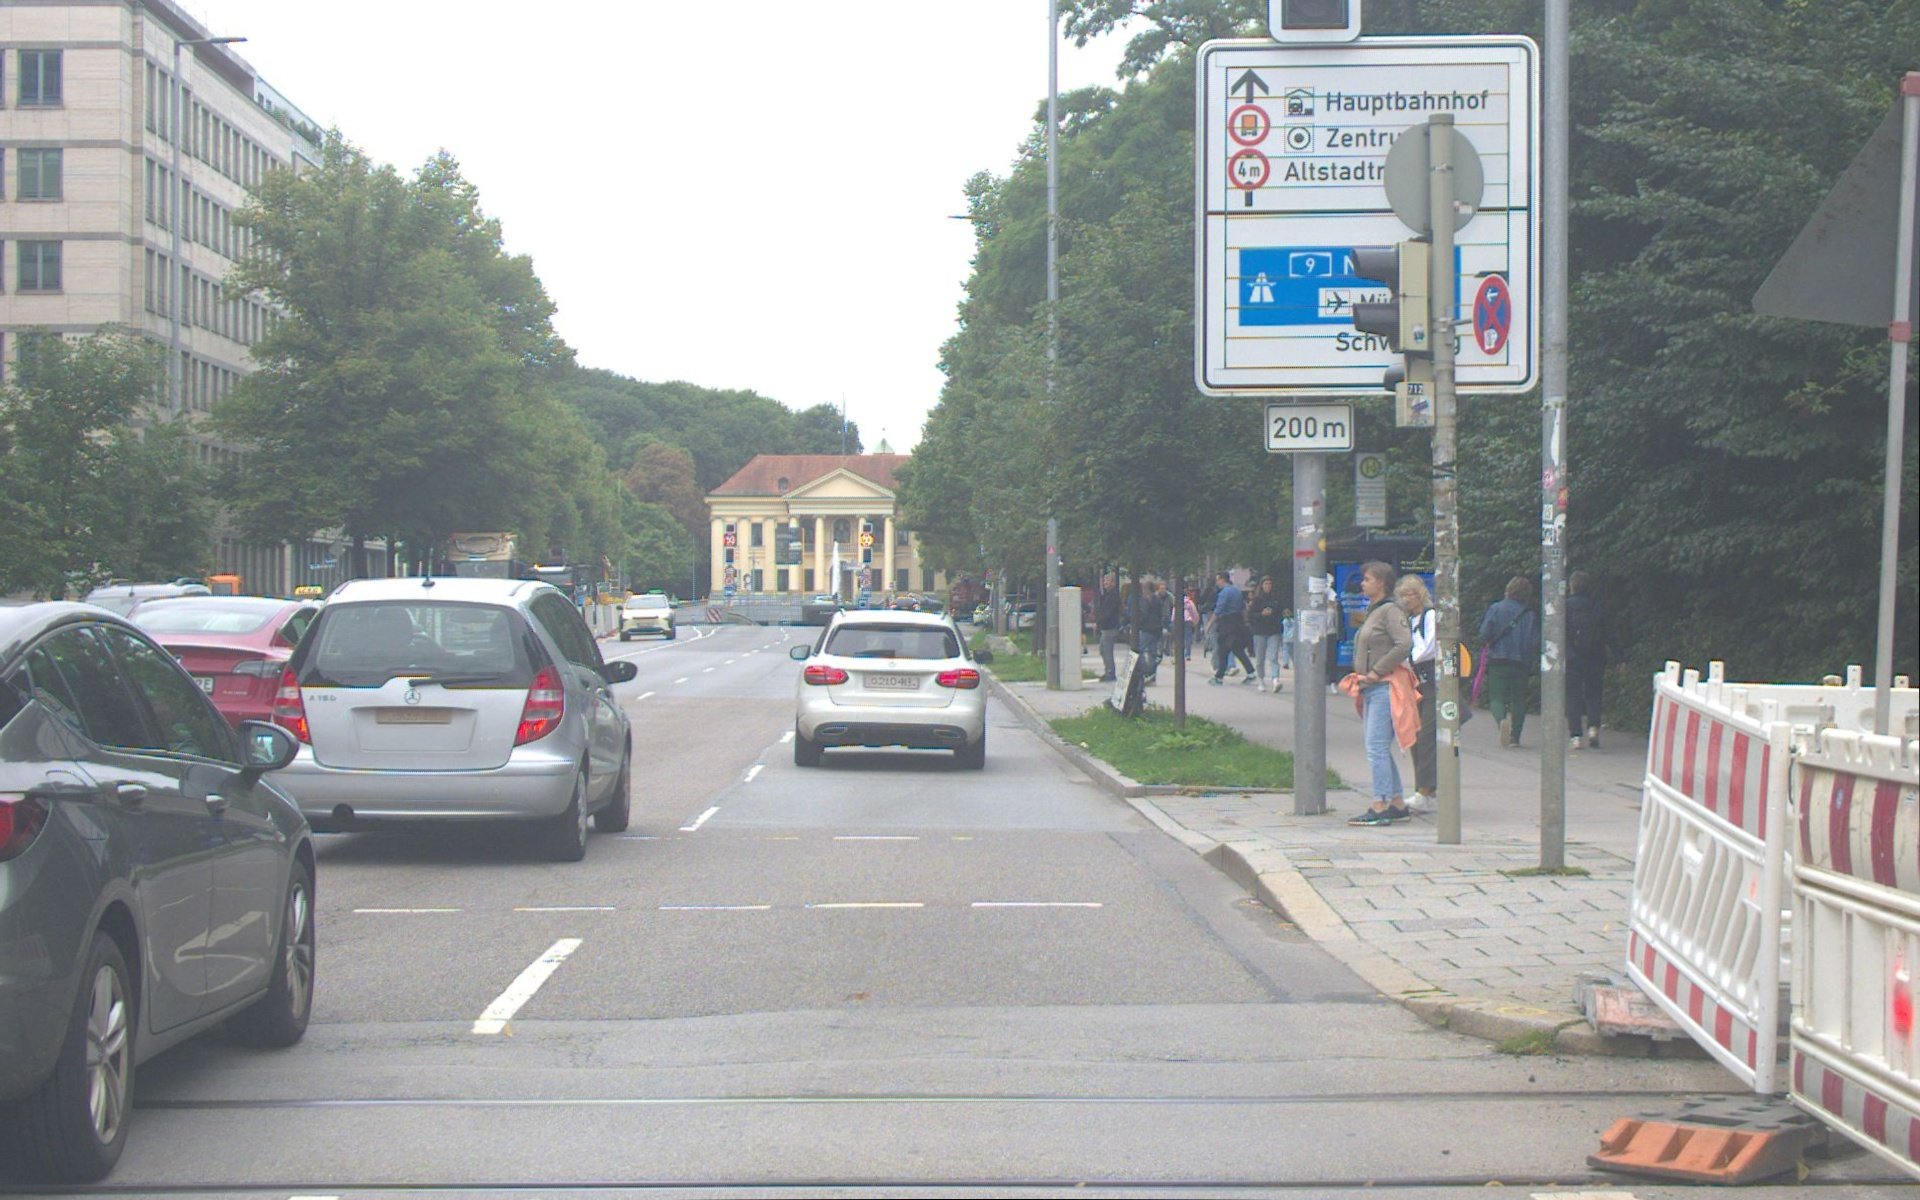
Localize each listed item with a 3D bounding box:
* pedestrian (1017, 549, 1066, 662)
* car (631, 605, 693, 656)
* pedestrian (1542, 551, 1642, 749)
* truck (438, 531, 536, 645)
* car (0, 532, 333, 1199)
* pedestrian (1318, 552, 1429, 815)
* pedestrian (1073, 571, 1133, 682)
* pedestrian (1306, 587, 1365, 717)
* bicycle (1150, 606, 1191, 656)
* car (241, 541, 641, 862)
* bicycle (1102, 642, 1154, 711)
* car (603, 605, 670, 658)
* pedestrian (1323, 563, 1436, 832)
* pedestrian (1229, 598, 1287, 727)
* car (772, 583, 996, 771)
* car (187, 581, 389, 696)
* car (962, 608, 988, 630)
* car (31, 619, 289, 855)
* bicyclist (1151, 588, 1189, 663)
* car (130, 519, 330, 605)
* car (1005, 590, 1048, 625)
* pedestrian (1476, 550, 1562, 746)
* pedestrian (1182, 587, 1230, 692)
[{"bbox_3d":[1.323,0.090,55.986,0.708,1.802,0.639,2,-1,-1],"label":"pedestrian"},{"bbox_3d":[-10.451,1.065,120.628,1.820,1.722,3.881,2,0,-1],"label":"car"},{"bbox_3d":[5.992,0.472,32.629,0.751,1.833,0.756,2,-1,0],"label":"pedestrian"},{"bbox_3d":[-16.487,-0.399,120.222,2.915,3.762,7.667,2,0,-5],"label":"truck"},{"bbox_3d":[-2.958,0.609,9.634,1.710,1.547,4.000,2,0,-1],"label":"car"},{"bbox_3d":[2.811,0.566,23.416,0.624,1.755,0.636,1,-1,-2],"label":"pedestrian"},{"bbox_3d":[2.445,0.450,58.760,0.805,1.874,0.543,1,-1,35],"label":"pedestrian"},{"bbox_3d":[5.618,0.775,51.485,0.708,1.909,0.956,2,-1,-1],"label":"pedestrian"},{"bbox_3d":[4.415,0.645,72.302,0.675,1.027,2.013,2,0,-1],"label":"bicycle"},{"bbox_3d":[-2.936,0.549,20.225,1.779,1.648,4.000,2,0,-1],"label":"car"},{"bbox_3d":[2.028,0.915,41.608,0.493,0.791,1.889,2,0,-1],"label":"bicycle"},{"bbox_3d":[-11.005,1.066,117.294,1.857,1.743,4.630,-1,0,0],"label":"car"},{"bbox_3d":[2.770,0.637,22.726,0.608,1.755,0.636,0,0,-6],"label":"pedestrian"},{"bbox_3d":[4.478,0.931,51.692,0.708,1.909,0.956,2,-1,-1],"label":"pedestrian"},{"bbox_3d":[-0.790,0.701,32.953,1.779,1.639,4.001,2,0,-6],"label":"car"},{"bbox_3d":[-8.881,0.493,45.810,1.767,1.418,4.747,-1,0,0],"label":"car"},{"bbox_3d":[1.035,1.309,238.445,1.724,1.319,4.028,1,2,0],"label":"car"},{"bbox_3d":[-6.323,1.019,27.052,1.778,1.648,4.001,2,0,-14],"label":"car"},{"bbox_3d":[4.427,0.530,72.392,0.708,1.556,0.639,2,0,-1],"label":"bicyclist"},{"bbox_3d":[-22.143,-1.136,104.452,5.679,2.528,2.157,0,0,-4],"label":"car"},{"bbox_3d":[2.980,0.367,153.939,1.827,1.544,4.751,0,0,0],"label":"car"},{"bbox_3d":[5.336,0.452,32.844,0.671,1.833,0.641,2,-1,0],"label":"pedestrian"},{"bbox_3d":[4.317,0.696,60.457,0.708,1.802,0.950,2,0,-1],"label":"pedestrian"}]
